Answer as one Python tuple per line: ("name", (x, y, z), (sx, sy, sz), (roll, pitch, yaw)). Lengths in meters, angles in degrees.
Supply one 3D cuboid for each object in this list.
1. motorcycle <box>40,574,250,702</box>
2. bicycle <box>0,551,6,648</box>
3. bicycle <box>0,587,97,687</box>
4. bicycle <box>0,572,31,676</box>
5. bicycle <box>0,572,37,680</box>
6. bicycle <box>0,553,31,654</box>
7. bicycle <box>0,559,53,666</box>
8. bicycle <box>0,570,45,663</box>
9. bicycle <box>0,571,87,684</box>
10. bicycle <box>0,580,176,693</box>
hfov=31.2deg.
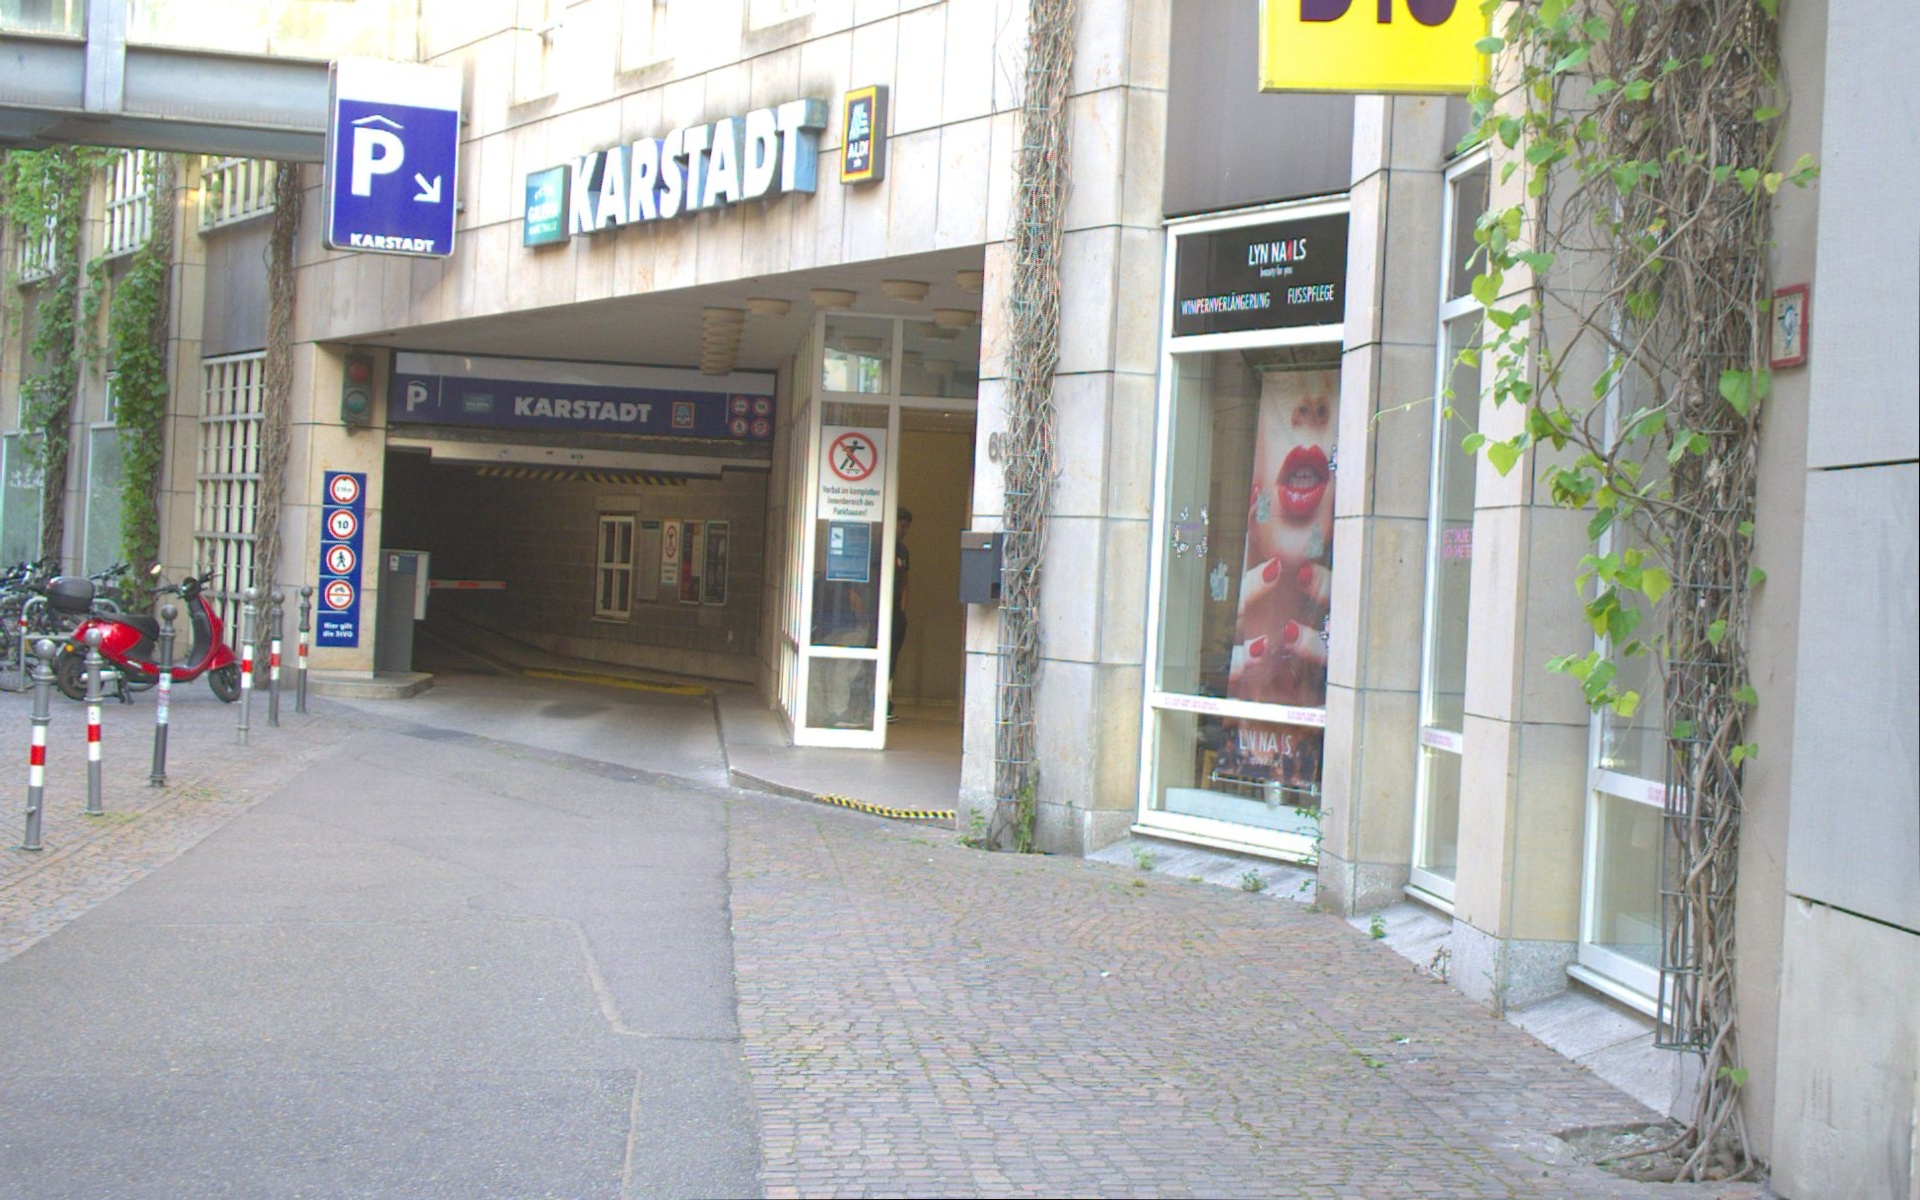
("motorcycle", (-7.004, 0.329, 29.554), (1.662, 1.047, 0.464), (2, 1, -25))
("bicycle", (-11.938, -0.034, 39.527), (1.773, 1.110, 0.543), (2, 1, -25))
("bicycle", (-8.952, 0.334, 31.855), (1.773, 0.901, 0.464), (2, 1, -25))
("bicycle", (-10.332, 0.227, 35.075), (1.539, 1.045, 0.575), (2, 1, -25))
("bicycle", (-9.899, 0.236, 33.710), (1.539, 1.045, 0.575), (2, 1, -25))
("bicycle", (-11.361, 0.017, 38.449), (1.773, 1.110, 0.543), (2, 1, -25))
("bicycle", (-10.534, 0.116, 36.235), (1.773, 1.110, 0.543), (2, 1, -25))
("bicycle", (-10.900, 0.163, 37.309), (1.773, 0.989, 0.543), (2, 1, -25))
("bicycle", (-9.181, 0.251, 32.789), (1.539, 1.045, 0.575), (2, 1, -25))
("bicycle", (-8.079, 0.330, 31.074), (1.847, 0.979, 0.464), (2, 1, -25))
